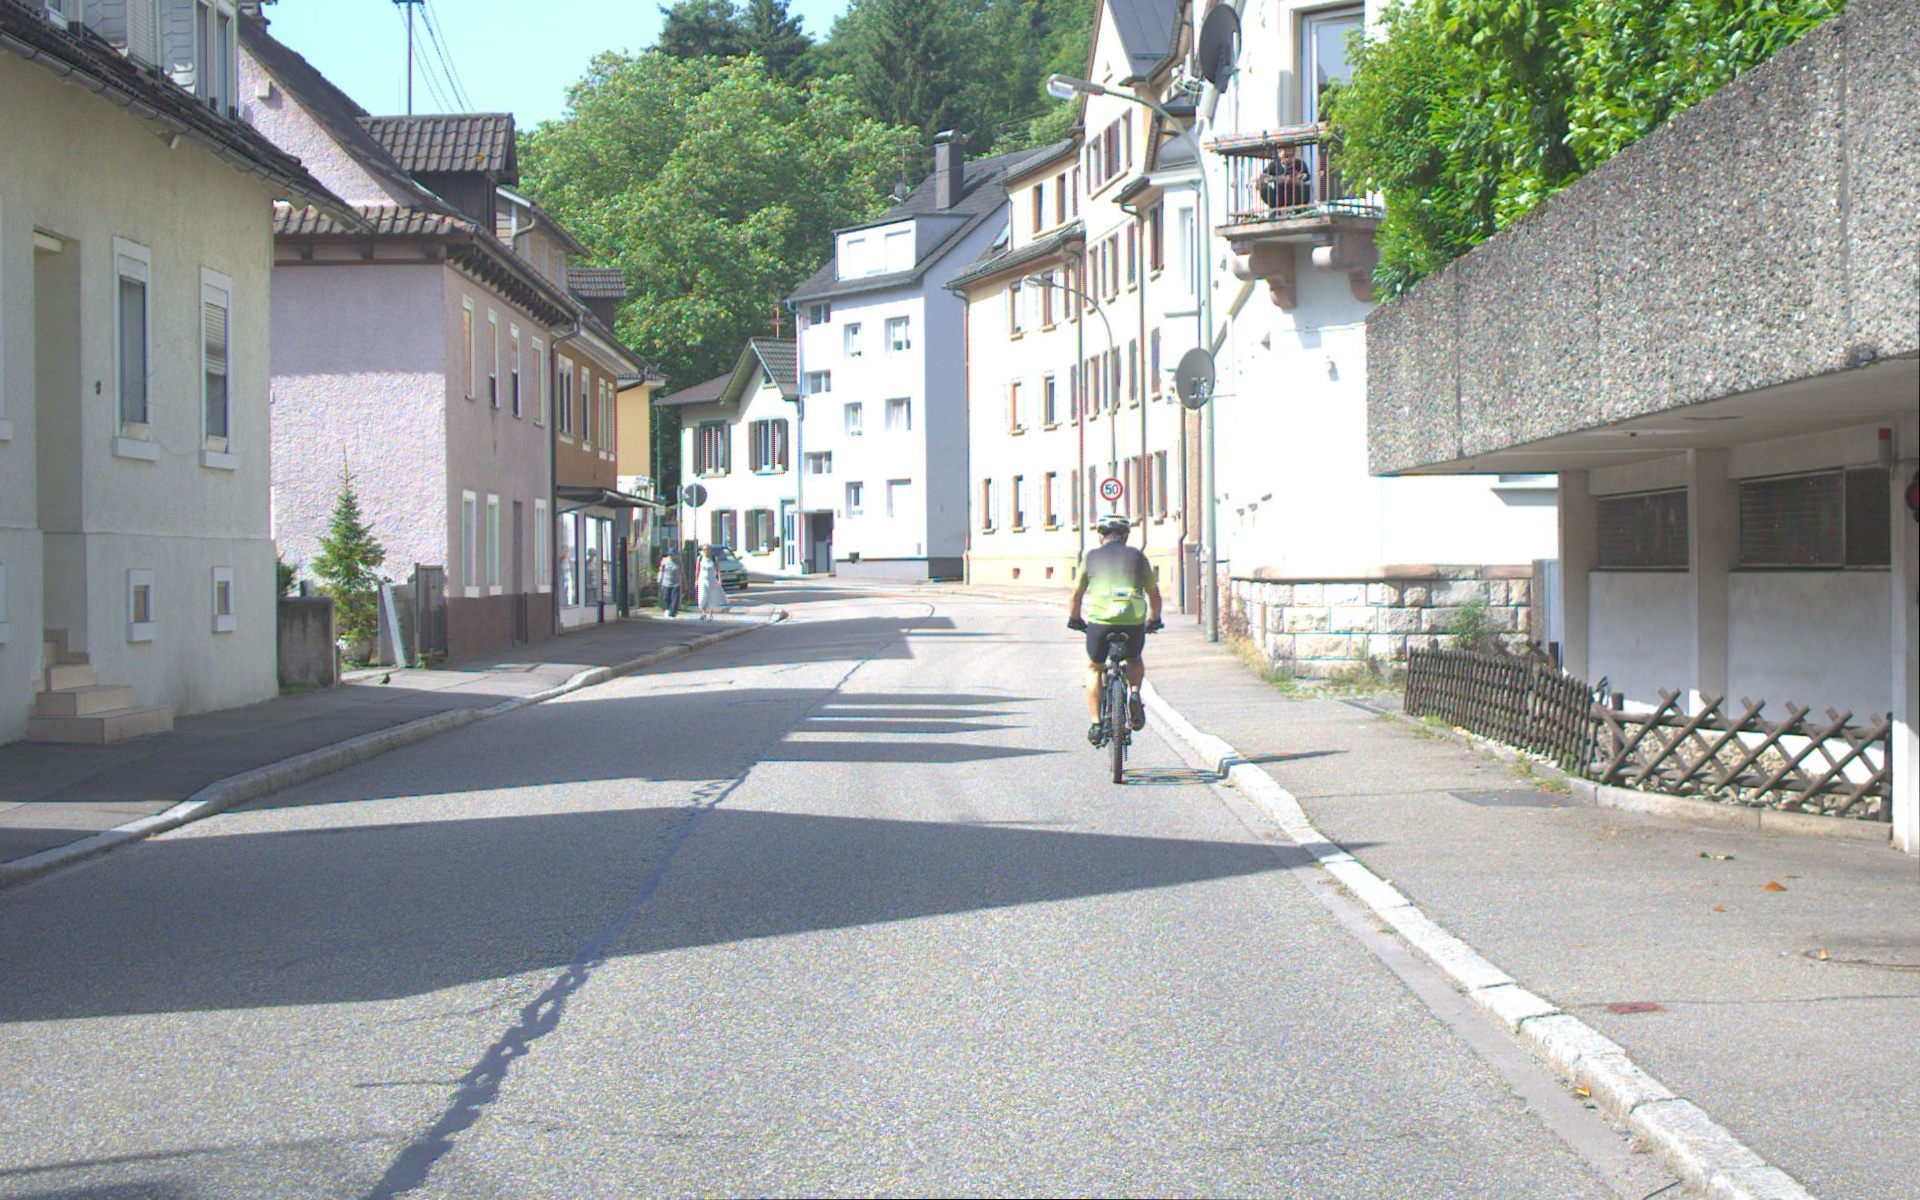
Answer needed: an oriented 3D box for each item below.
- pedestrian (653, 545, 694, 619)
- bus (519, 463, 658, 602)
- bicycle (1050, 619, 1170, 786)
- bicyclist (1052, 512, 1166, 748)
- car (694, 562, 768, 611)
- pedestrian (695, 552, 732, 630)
[{"bbox_3d":[-6.185,-0.392,74.236,0.735,1.559,0.824,3,1,1],"label":"pedestrian"},{"bbox_3d":[-9.158,-1.676,85.611,2.820,3.217,9.037,1,1,-3],"label":"bus"},{"bbox_3d":[0.984,0.661,22.843,0.698,1.032,1.471,0,1,-1],"label":"bicycle"},{"bbox_3d":[0.981,0.189,22.776,0.685,1.526,0.715,-1,1,-1],"label":"bicyclist"},{"bbox_3d":[-7.442,-0.443,111.391,1.596,1.459,3.661,-4,1,-15],"label":"car"},{"bbox_3d":[-5.311,-0.199,74.117,0.639,1.621,0.777,3,1,1],"label":"pedestrian"}]
